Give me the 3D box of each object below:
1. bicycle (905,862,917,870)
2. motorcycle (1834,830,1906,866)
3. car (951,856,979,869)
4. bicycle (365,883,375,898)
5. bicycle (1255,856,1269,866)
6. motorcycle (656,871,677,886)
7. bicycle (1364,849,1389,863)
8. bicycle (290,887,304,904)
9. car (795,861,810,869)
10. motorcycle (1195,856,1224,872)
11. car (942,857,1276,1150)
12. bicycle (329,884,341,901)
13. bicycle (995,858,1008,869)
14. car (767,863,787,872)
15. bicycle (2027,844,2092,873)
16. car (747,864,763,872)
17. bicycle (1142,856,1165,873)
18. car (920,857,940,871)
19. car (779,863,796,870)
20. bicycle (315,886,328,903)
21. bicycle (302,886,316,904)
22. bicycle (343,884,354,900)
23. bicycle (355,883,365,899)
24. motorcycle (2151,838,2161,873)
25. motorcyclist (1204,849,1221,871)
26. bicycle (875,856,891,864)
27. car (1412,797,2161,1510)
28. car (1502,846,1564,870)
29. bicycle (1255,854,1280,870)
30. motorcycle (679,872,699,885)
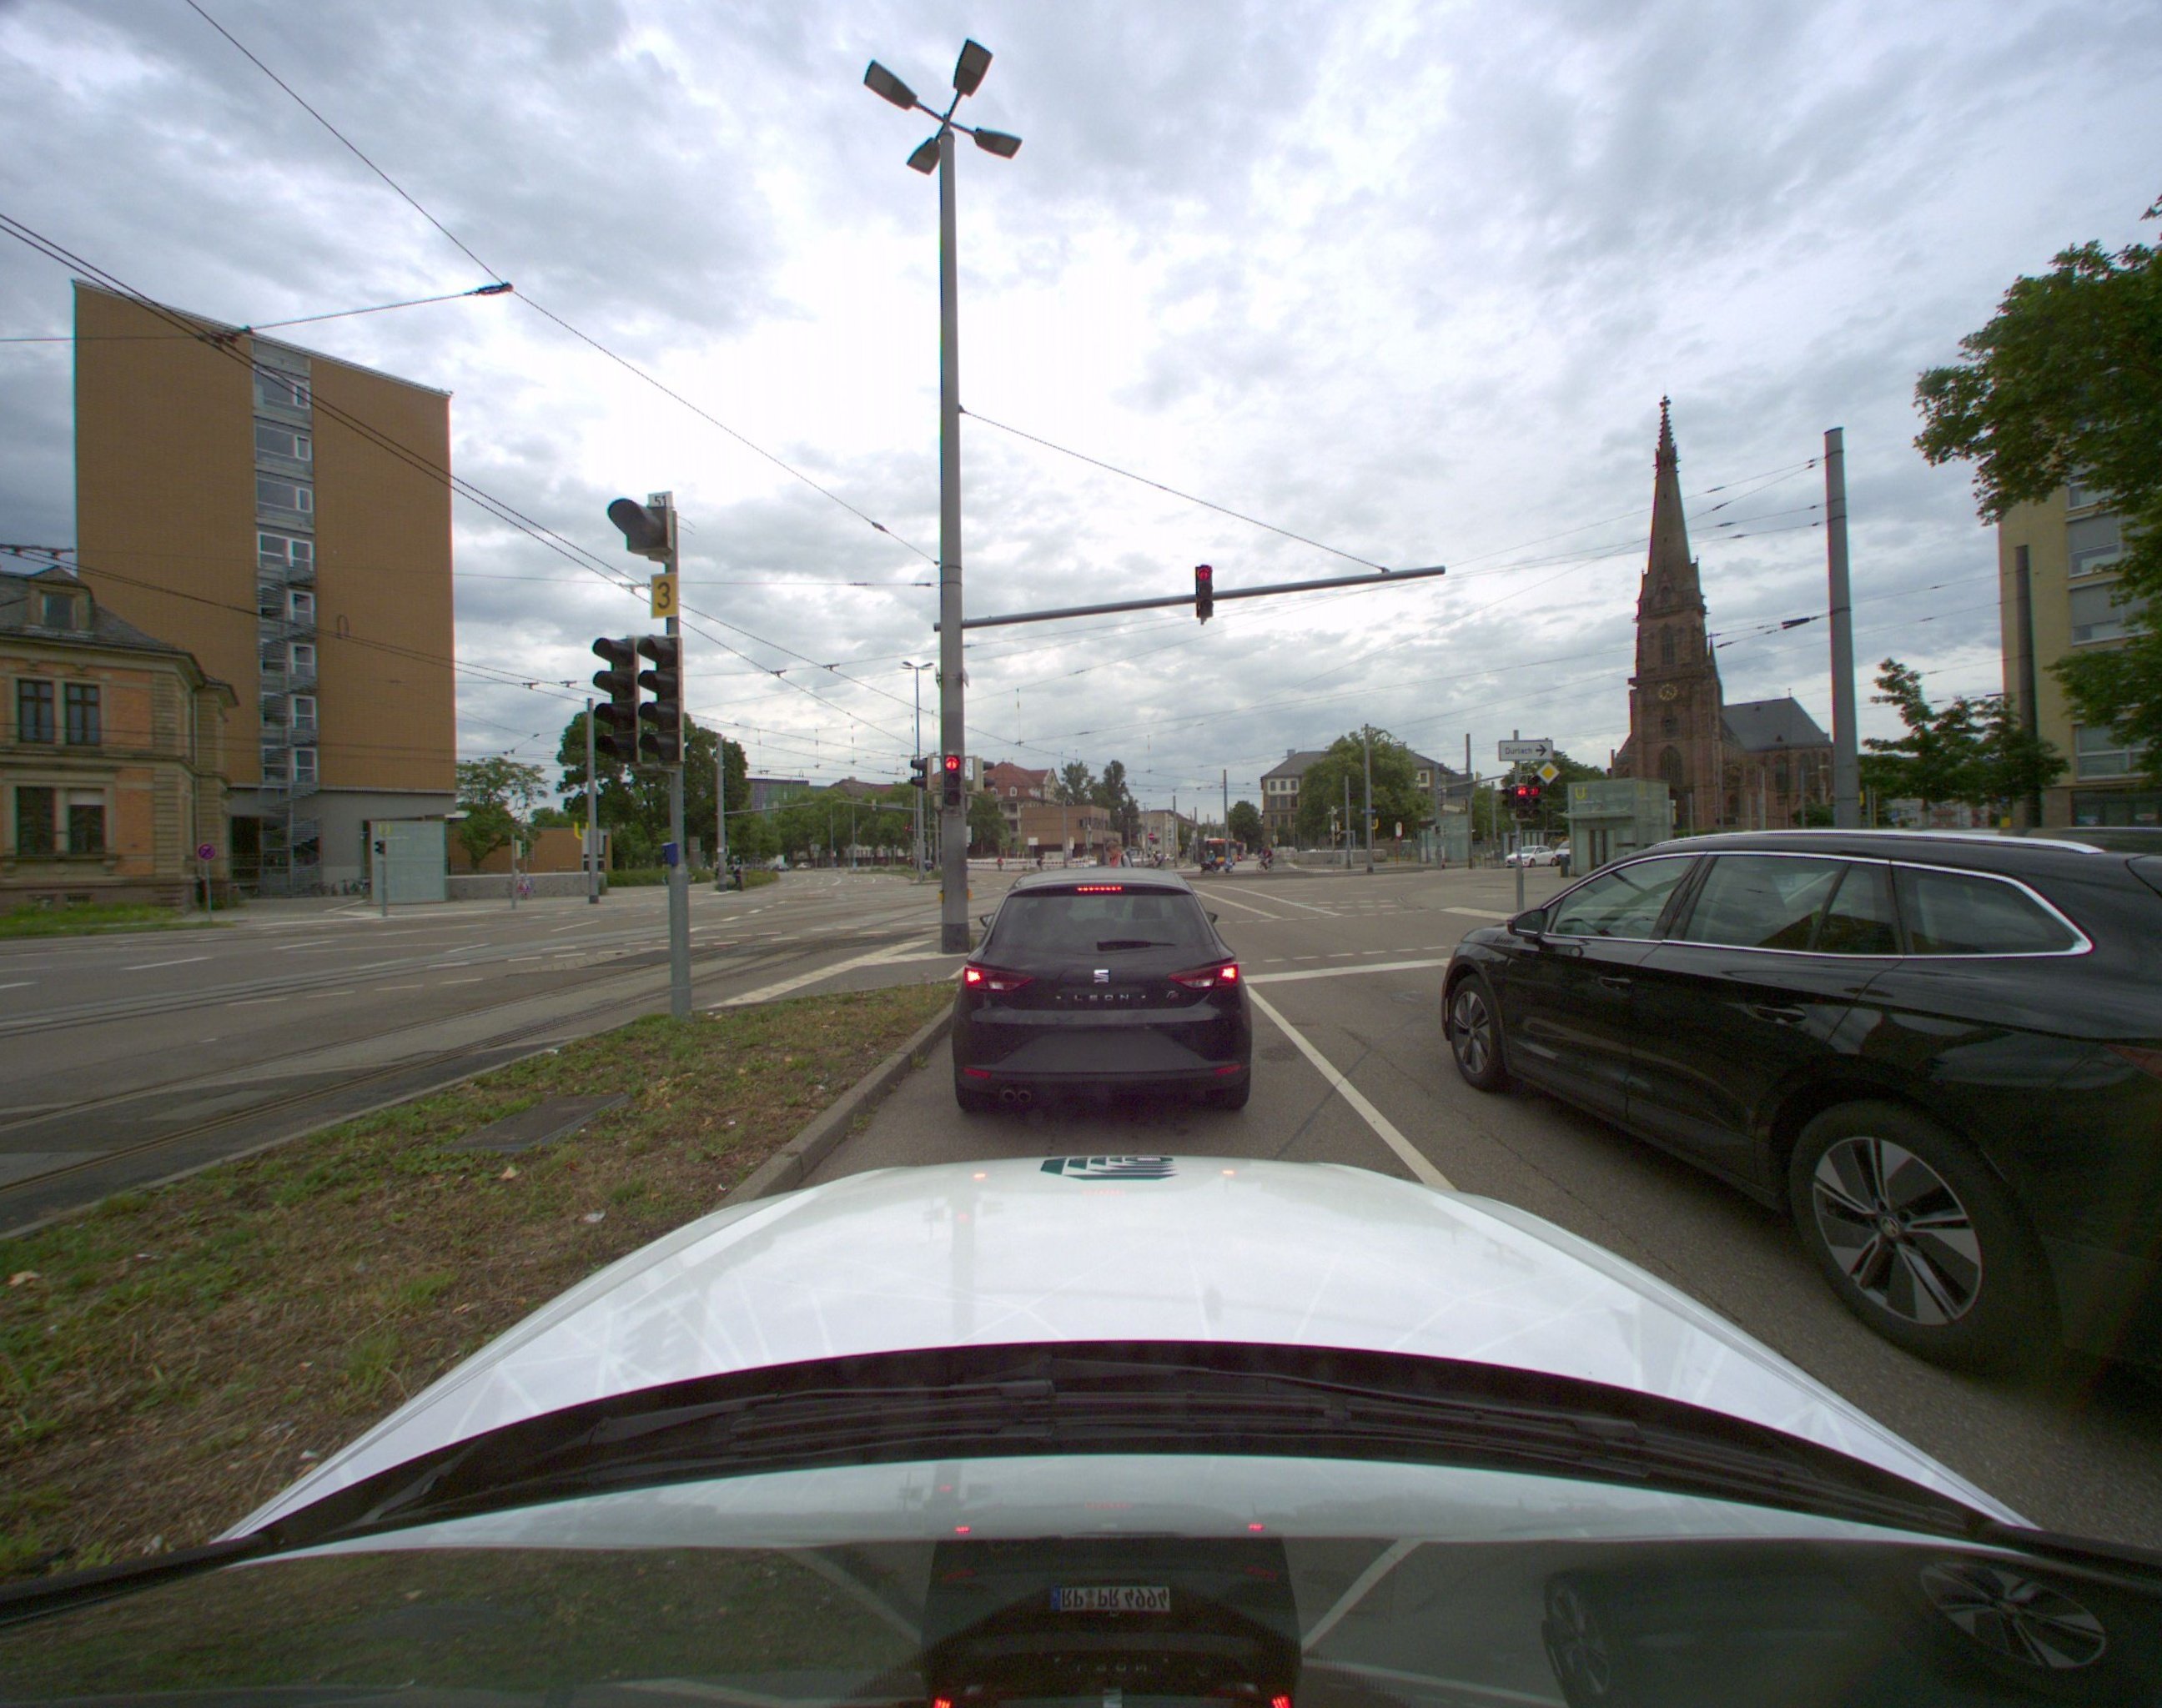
[{"bbox_3d":[-26.006,1.821,124.912,0.429,1.236,1.838,-3,-2,45],"label":"bicycle"},{"bbox_3d":[26.949,-0.211,27.815,2.386,1.168,0.762,-1,0,-19],"label":"motorcycle"},{"bbox_3d":[-17.603,1.299,123.666,3.970,1.684,2.001,-2,-1,3],"label":"car"},{"bbox_3d":[-49.840,2.561,57.080,0.484,1.049,1.411,-1,0,-41],"label":"bicycle"},{"bbox_3d":[19.364,0.749,87.071,0.863,1.104,2.299,-1,0,-3],"label":"bicycle"},{"bbox_3d":[-35.447,2.071,69.607,1.481,1.268,0.505,-1,0,-44],"label":"motorcycle"},{"bbox_3d":[29.657,0.176,81.730,2.248,1.331,0.709,-2,-2,9],"label":"bicycle"},{"bbox_3d":[-52.539,2.777,54.558,0.575,1.106,1.411,-1,0,-41],"label":"bicycle"},{"bbox_3d":[-55.316,2.146,161.715,1.790,1.464,3.956,-1,0,-36],"label":"car"},{"bbox_3d":[9.771,0.730,61.891,2.149,1.139,0.737,-1,0,-31],"label":"motorcycle"},{"bbox_3d":[0.087,0.774,6.112,1.700,1.449,3.809,-1,0,-2],"label":"car"},{"bbox_3d":[-51.158,2.624,55.845,0.575,1.106,1.411,-1,0,-41],"label":"bicycle"},{"bbox_3d":[-8.624,1.051,88.355,0.895,1.178,2.287,-1,0,-20],"label":"bicycle"},{"bbox_3d":[-54.016,2.380,144.737,1.792,1.464,3.950,-1,0,-45],"label":"car"},{"bbox_3d":[31.504,0.141,26.235,0.596,0.917,1.253,-1,0,-28],"label":"bicycle"},{"bbox_3d":[-68.751,2.913,171.600,1.792,1.464,3.951,-1,0,-44],"label":"car"},{"bbox_3d":[5.723,0.803,64.274,1.727,1.321,0.644,-2,0,-5],"label":"bicycle"},{"bbox_3d":[-19.569,1.366,105.428,2.000,1.684,3.973,-1,-1,-20],"label":"car"},{"bbox_3d":[-61.206,2.543,169.728,3.950,1.464,1.792,-1,0,45],"label":"car"},{"bbox_3d":[-51.642,2.764,55.369,0.575,1.106,1.411,-1,0,-41],"label":"bicycle"},{"bbox_3d":[-52.089,2.763,54.963,0.575,1.106,1.411,-1,0,-41],"label":"bicycle"},{"bbox_3d":[-50.654,2.615,56.290,0.512,1.049,1.411,-1,0,-41],"label":"bicycle"},{"bbox_3d":[-50.241,2.585,56.729,0.484,1.049,1.411,-1,0,-41],"label":"bicycle"},{"bbox_3d":[32.042,0.037,23.760,1.021,0.997,0.863,-1,0,-45],"label":"motorcycle"},{"bbox_3d":[10.024,0.483,62.063,0.984,1.649,0.742,-1,-1,-31],"label":"motorcyclist"},{"bbox_3d":[-32.037,0.948,131.782,0.930,1.179,2.747,-2,0,30],"label":"bicycle"},{"bbox_3d":[3.320,0.654,3.775,1.771,1.597,4.510,-1,0,1],"label":"car"},{"bbox_3d":[30.408,0.265,54.808,4.011,1.464,1.758,-1,-2,-30],"label":"car"},{"bbox_3d":[13.869,0.585,60.585,2.044,1.184,0.768,-1,0,-44],"label":"bicycle"},{"bbox_3d":[-34.419,2.156,71.511,0.506,1.111,1.751,-2,0,15],"label":"motorcycle"}]
